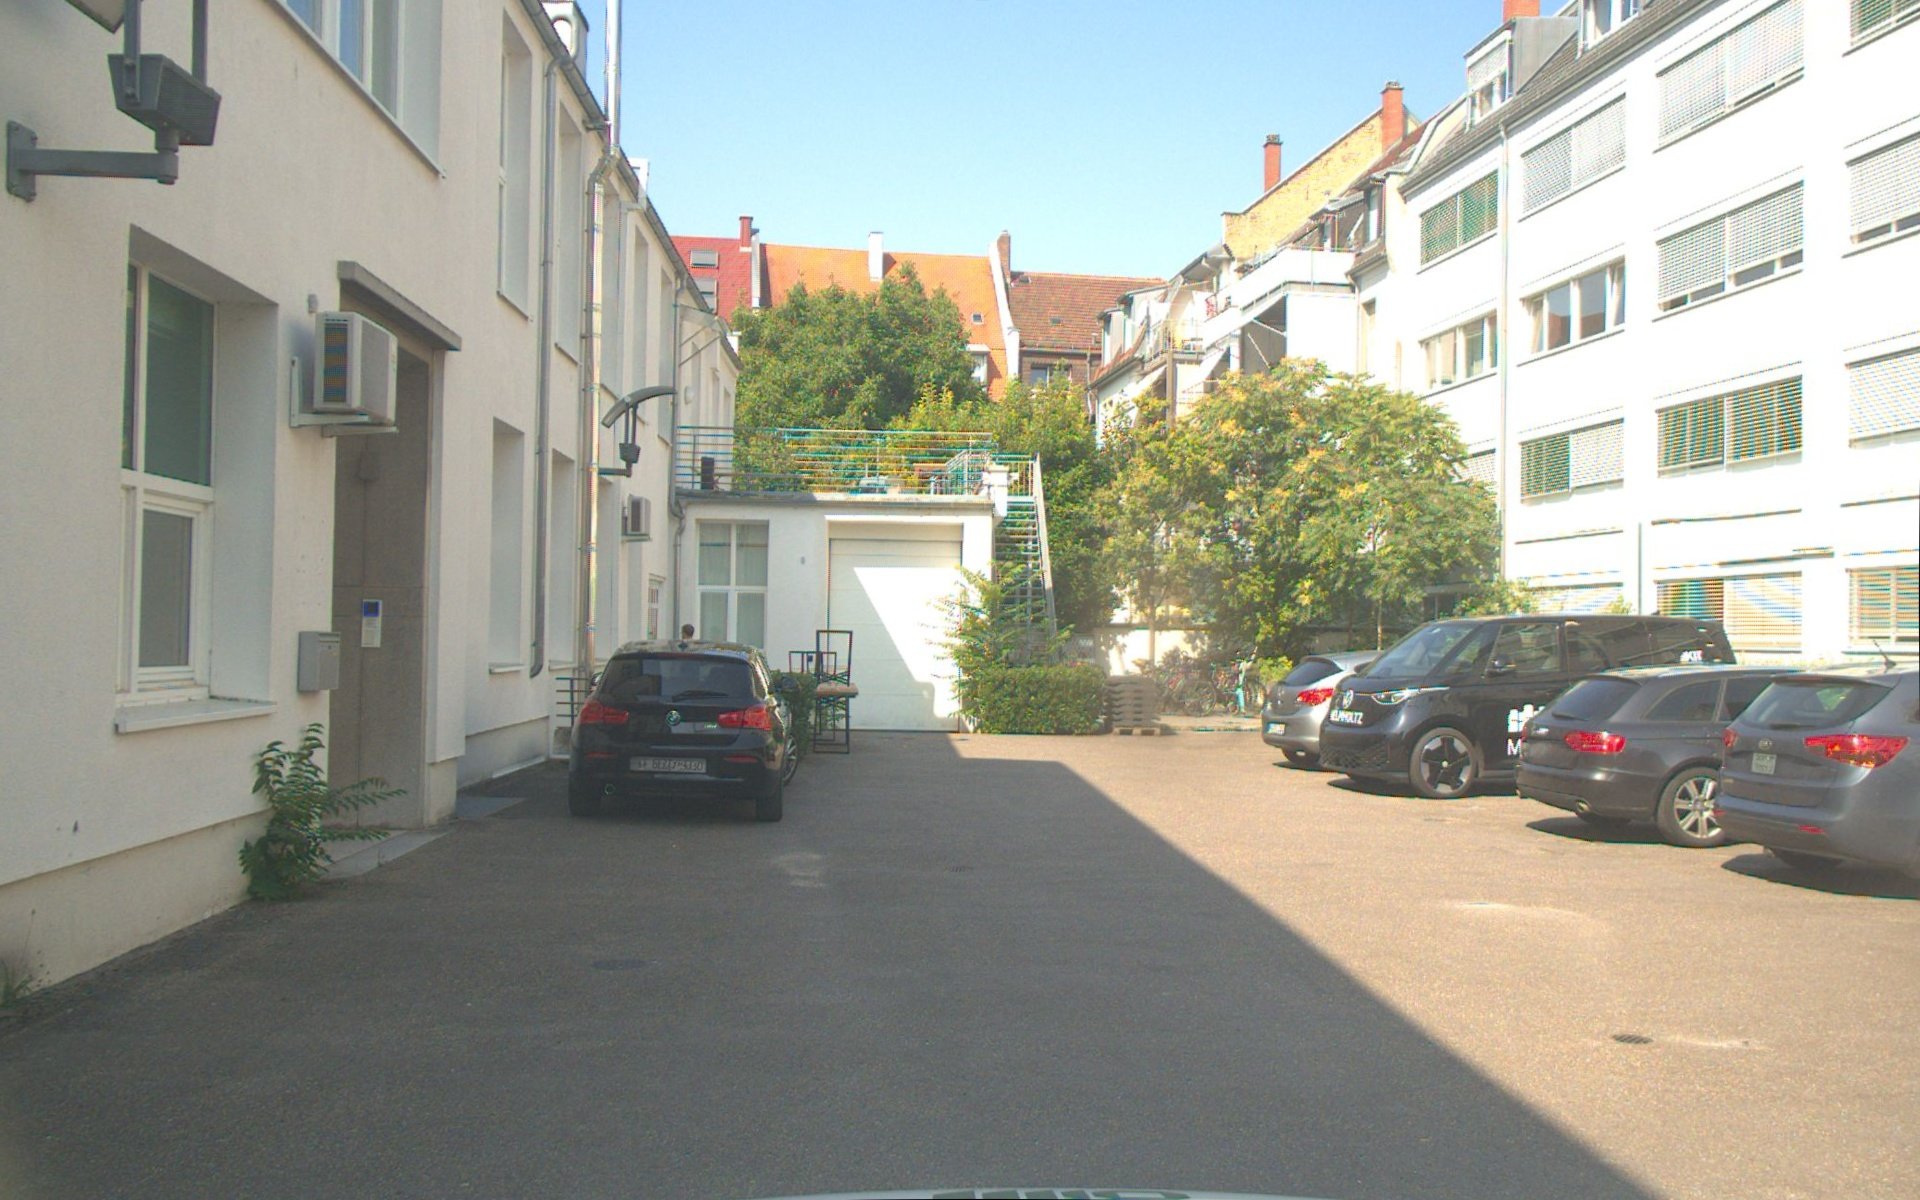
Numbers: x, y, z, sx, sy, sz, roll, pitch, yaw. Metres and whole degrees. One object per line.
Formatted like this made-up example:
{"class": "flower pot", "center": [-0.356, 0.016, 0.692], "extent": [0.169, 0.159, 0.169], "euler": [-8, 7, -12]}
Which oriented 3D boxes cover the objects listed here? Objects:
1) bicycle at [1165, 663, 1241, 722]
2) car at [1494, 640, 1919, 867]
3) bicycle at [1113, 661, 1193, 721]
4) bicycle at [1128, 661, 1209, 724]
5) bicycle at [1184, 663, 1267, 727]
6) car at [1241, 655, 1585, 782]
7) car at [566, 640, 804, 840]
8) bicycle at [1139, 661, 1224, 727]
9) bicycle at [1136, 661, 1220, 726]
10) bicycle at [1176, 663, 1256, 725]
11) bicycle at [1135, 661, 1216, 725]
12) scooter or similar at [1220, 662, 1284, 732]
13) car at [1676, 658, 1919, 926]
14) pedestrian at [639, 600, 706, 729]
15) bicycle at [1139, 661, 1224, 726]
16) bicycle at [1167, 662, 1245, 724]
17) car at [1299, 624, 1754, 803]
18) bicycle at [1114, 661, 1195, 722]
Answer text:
{"class": "bicycle", "center": [5.171, 1.956, 35.154], "extent": [1.588, 1.235, 0.424], "euler": [0, -2, 10]}
{"class": "car", "center": [6.843, 1.273, 14.024], "extent": [4.037, 1.721, 1.769], "euler": [2, -2, -5]}
{"class": "bicycle", "center": [4.017, 1.894, 34.415], "extent": [1.592, 1.235, 0.423], "euler": [1, -2, -8]}
{"class": "bicycle", "center": [4.172, 1.849, 33.111], "extent": [1.588, 1.235, 0.327], "euler": [0, -2, 10]}
{"class": "bicycle", "center": [5.251, 1.866, 32.695], "extent": [1.588, 1.235, 0.327], "euler": [0, -2, 12]}
{"class": "car", "center": [5.718, 1.496, 21.060], "extent": [3.862, 1.508, 1.769], "euler": [1, -3, -12]}
{"class": "car", "center": [-2.293, 1.148, 14.666], "extent": [1.655, 1.485, 3.919], "euler": [2, -2, -4]}
{"class": "bicycle", "center": [4.236, 1.798, 31.684], "extent": [1.590, 1.235, 0.327], "euler": [0, -2, -1]}
{"class": "bicycle", "center": [4.247, 1.821, 32.299], "extent": [1.590, 1.235, 0.327], "euler": [0, -2, -1]}
{"class": "bicycle", "center": [5.196, 1.897, 33.552], "extent": [1.588, 1.235, 0.424], "euler": [0, -2, 10]}
{"class": "bicycle", "center": [4.264, 1.839, 32.751], "extent": [1.588, 1.235, 0.327], "euler": [0, -2, 7]}
{"class": "scooter or similar", "center": [5.550, 1.836, 31.497], "extent": [0.375, 1.283, 1.333], "euler": [2, -2, -34]}
{"class": "car", "center": [7.145, 1.258, 11.216], "extent": [3.789, 1.617, 1.876], "euler": [2, -2, -8]}
{"class": "pedestrian", "center": [-4.690, 1.054, 27.045], "extent": [0.895, 2.049, 0.934], "euler": [2, -2, -2]}
{"class": "bicycle", "center": [4.288, 1.812, 32.007], "extent": [1.590, 1.235, 0.327], "euler": [0, -2, -1]}
{"class": "bicycle", "center": [5.073, 1.915, 34.124], "extent": [1.588, 1.235, 0.424], "euler": [0, -2, 10]}
{"class": "car", "center": [6.166, 1.239, 18.202], "extent": [4.421, 1.826, 1.877], "euler": [1, -3, -12]}
{"class": "bicycle", "center": [3.961, 1.869, 33.778], "extent": [1.591, 1.235, 0.424], "euler": [1, -2, -3]}
